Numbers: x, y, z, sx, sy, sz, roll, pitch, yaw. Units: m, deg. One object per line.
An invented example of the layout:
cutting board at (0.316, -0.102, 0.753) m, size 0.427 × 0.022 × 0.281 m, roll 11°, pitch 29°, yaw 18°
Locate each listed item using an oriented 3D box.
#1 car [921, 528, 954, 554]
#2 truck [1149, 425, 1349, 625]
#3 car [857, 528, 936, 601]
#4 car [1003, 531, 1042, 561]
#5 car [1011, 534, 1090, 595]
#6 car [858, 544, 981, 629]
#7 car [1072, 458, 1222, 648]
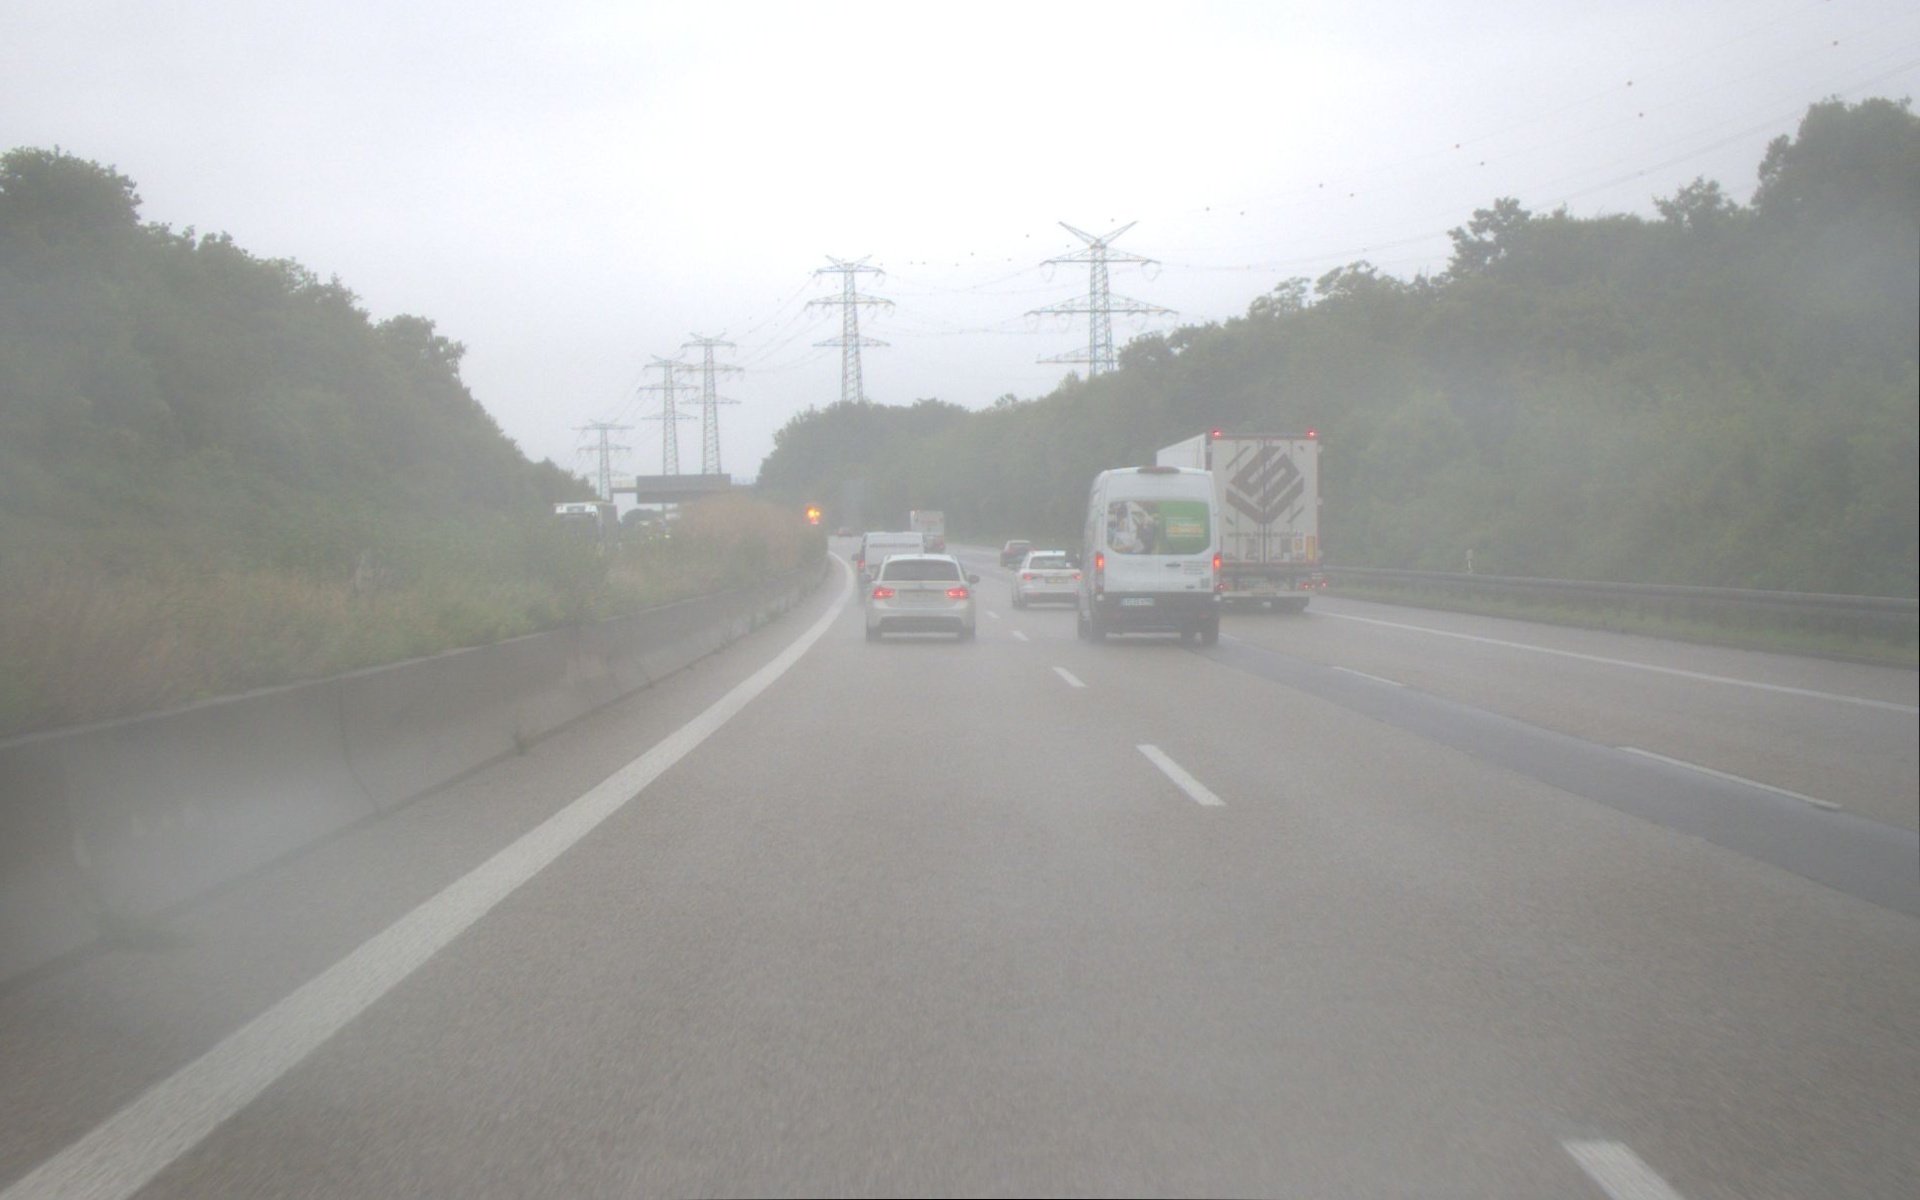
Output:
car at (-1.406, -3.732, 218.588) m, size 1.993 × 1.568 × 4.000 m, roll -2°, pitch 0°, yaw 1°
truck at (6.697, -1.726, 81.921) m, size 3.603 × 4.317 × 13.200 m, roll -1°, pitch 1°, yaw 0°
car at (-1.596, -0.923, 88.072) m, size 1.846 × 1.766 × 4.000 m, roll -1°, pitch 1°, yaw 1°
car at (3.312, -2.852, 182.602) m, size 1.993 × 1.481 × 4.000 m, roll -3°, pitch 1°, yaw 1°
car at (2.207, -0.870, 83.172) m, size 1.857 × 1.418 × 4.000 m, roll 0°, pitch 1°, yaw 2°
car at (-0.624, -0.240, 56.057) m, size 1.866 × 1.284 × 4.000 m, roll -1°, pitch 1°, yaw 1°
car at (2.932, -0.752, 54.633) m, size 1.993 × 2.854 × 4.000 m, roll -1°, pitch 1°, yaw -1°
